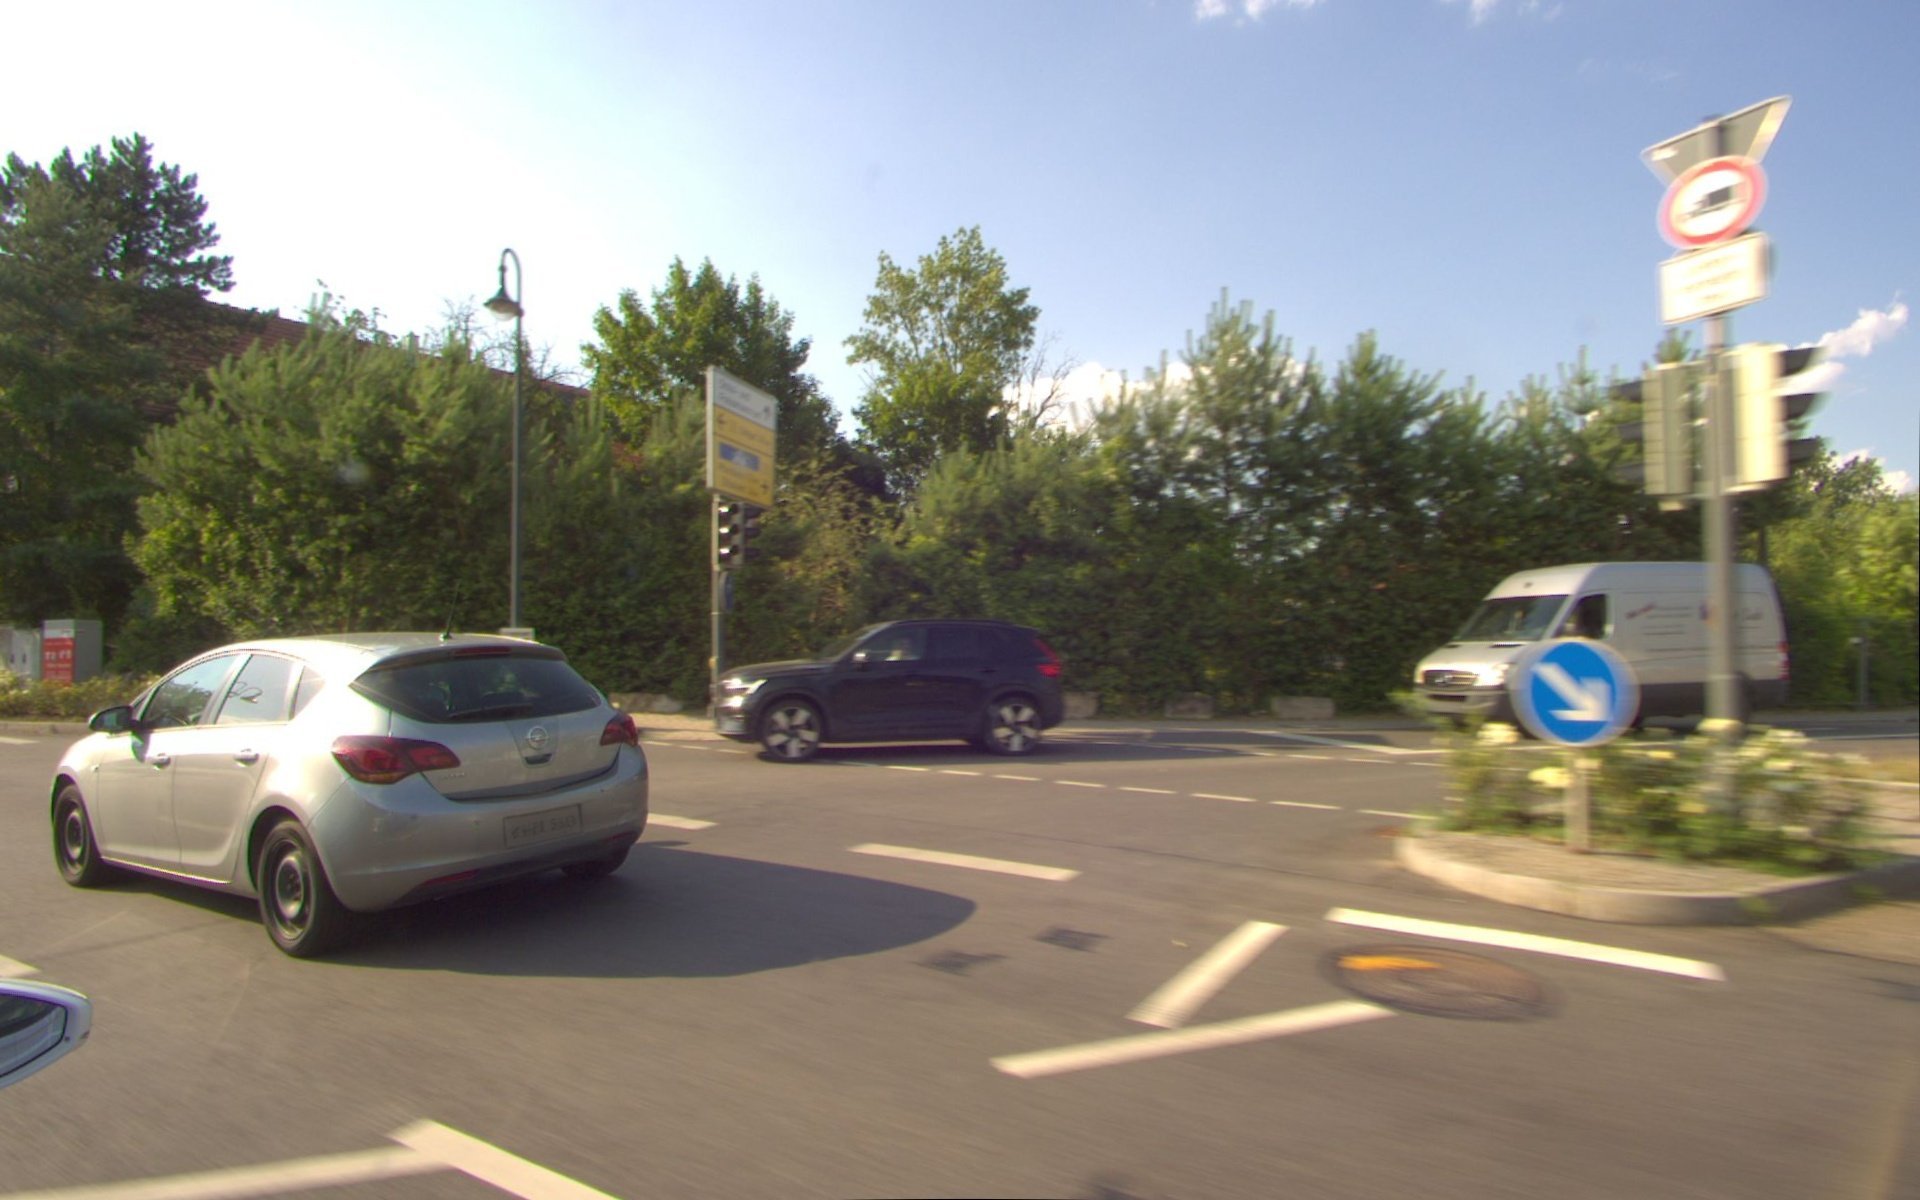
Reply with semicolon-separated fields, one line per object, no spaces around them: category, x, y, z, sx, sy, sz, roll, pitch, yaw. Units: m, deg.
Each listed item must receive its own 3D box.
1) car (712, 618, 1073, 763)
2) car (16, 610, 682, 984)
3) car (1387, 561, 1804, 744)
car;-0.891;1.027;12.379;4.194;1.587;1.790;0;-1;-16
car;-3.762;0.828;5.930;4.245;1.509;1.717;-1;-1;33
car;9.912;0.777;15.739;5.754;2.554;2.192;0;-1;-14
